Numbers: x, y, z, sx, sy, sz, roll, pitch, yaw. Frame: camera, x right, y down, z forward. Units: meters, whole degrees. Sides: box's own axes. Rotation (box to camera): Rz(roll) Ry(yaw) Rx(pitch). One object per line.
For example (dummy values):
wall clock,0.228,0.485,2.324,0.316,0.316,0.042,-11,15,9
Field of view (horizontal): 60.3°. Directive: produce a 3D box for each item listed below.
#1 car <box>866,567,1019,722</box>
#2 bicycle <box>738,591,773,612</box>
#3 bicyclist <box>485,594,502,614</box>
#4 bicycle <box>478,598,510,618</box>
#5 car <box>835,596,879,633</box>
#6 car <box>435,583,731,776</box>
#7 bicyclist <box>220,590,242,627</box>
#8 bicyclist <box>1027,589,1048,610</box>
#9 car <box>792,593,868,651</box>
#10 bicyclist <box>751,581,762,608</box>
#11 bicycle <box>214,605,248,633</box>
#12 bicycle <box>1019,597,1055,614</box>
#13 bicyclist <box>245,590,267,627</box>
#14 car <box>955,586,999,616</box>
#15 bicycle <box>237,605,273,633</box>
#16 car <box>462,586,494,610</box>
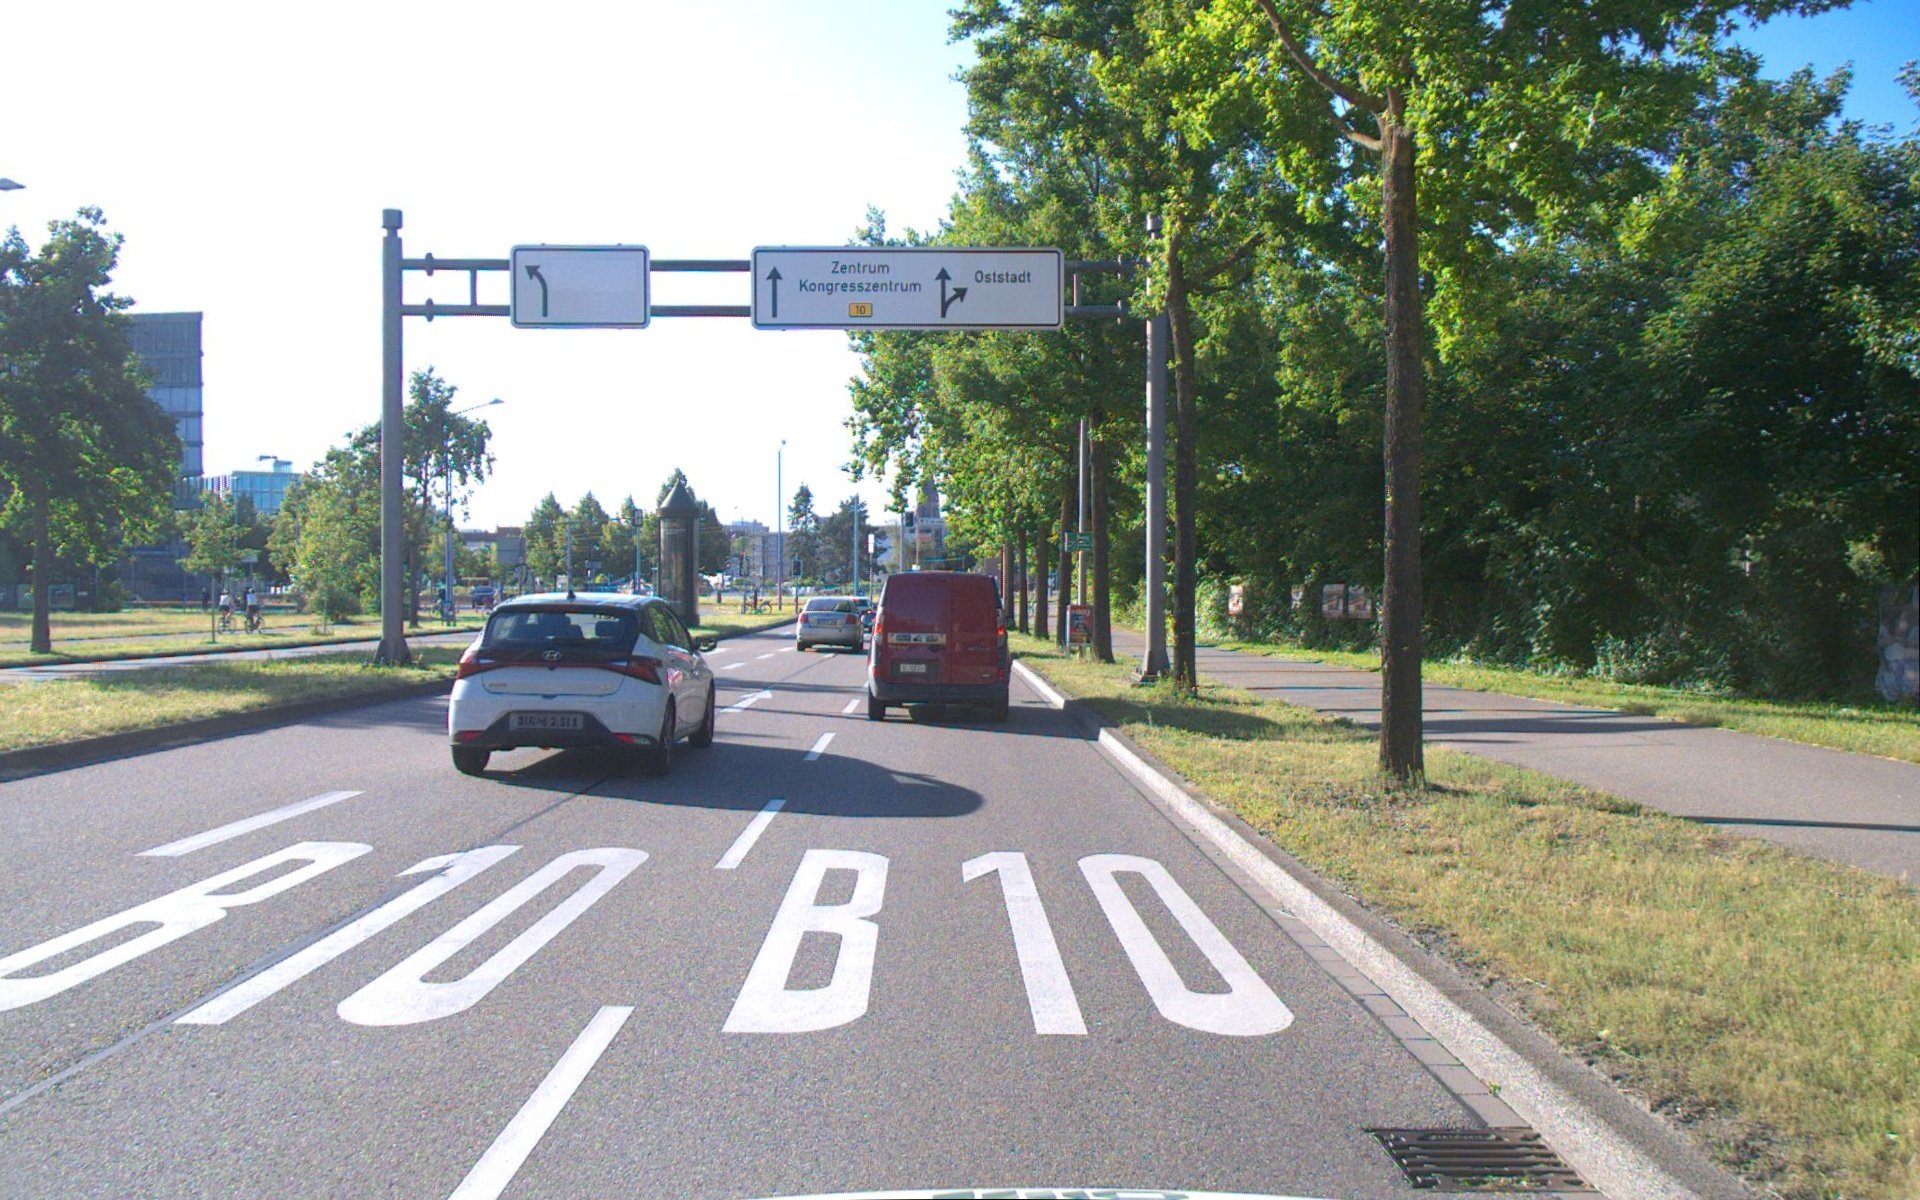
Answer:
car,-0.248,0.494,21.419,1.769,1.790,4.005,1,1,-1
bicycle,-11.757,0.060,95.035,1.919,1.186,0.517,0,0,-3
bicyclist,-26.638,0.220,94.428,0.719,1.126,0.605,0,0,12
bicycle,-26.593,0.457,94.418,1.690,1.126,0.605,0,0,12
car,-4.196,0.559,67.612,1.628,1.422,3.558,0,1,-1
car,-3.176,0.591,14.738,1.742,1.433,4.074,1,1,-1
bicyclist,-28.286,0.336,64.191,0.472,1.419,0.844,0,0,-2
bicyclist,4.571,-0.033,97.850,0.959,1.271,0.780,0,0,-33
car,-3.554,0.577,45.939,1.803,1.482,4.162,1,1,-1
bicyclist,-11.697,-0.320,95.034,0.591,1.494,0.517,0,0,-2
bicycle,-28.282,0.728,64.206,0.477,1.021,2.095,0,0,-2
bicycle,4.544,0.335,97.825,2.100,0.975,0.780,0,0,-34
bicyclist,-27.232,0.312,63.979,0.551,1.416,0.747,0,0,-2
car,0.983,0.056,95.373,1.734,1.653,3.929,1,0,12
bicycle,-27.228,0.722,63.900,0.558,1.021,2.095,0,0,-2
car,-38.792,-0.170,133.151,1.617,1.909,3.959,0,0,-30
